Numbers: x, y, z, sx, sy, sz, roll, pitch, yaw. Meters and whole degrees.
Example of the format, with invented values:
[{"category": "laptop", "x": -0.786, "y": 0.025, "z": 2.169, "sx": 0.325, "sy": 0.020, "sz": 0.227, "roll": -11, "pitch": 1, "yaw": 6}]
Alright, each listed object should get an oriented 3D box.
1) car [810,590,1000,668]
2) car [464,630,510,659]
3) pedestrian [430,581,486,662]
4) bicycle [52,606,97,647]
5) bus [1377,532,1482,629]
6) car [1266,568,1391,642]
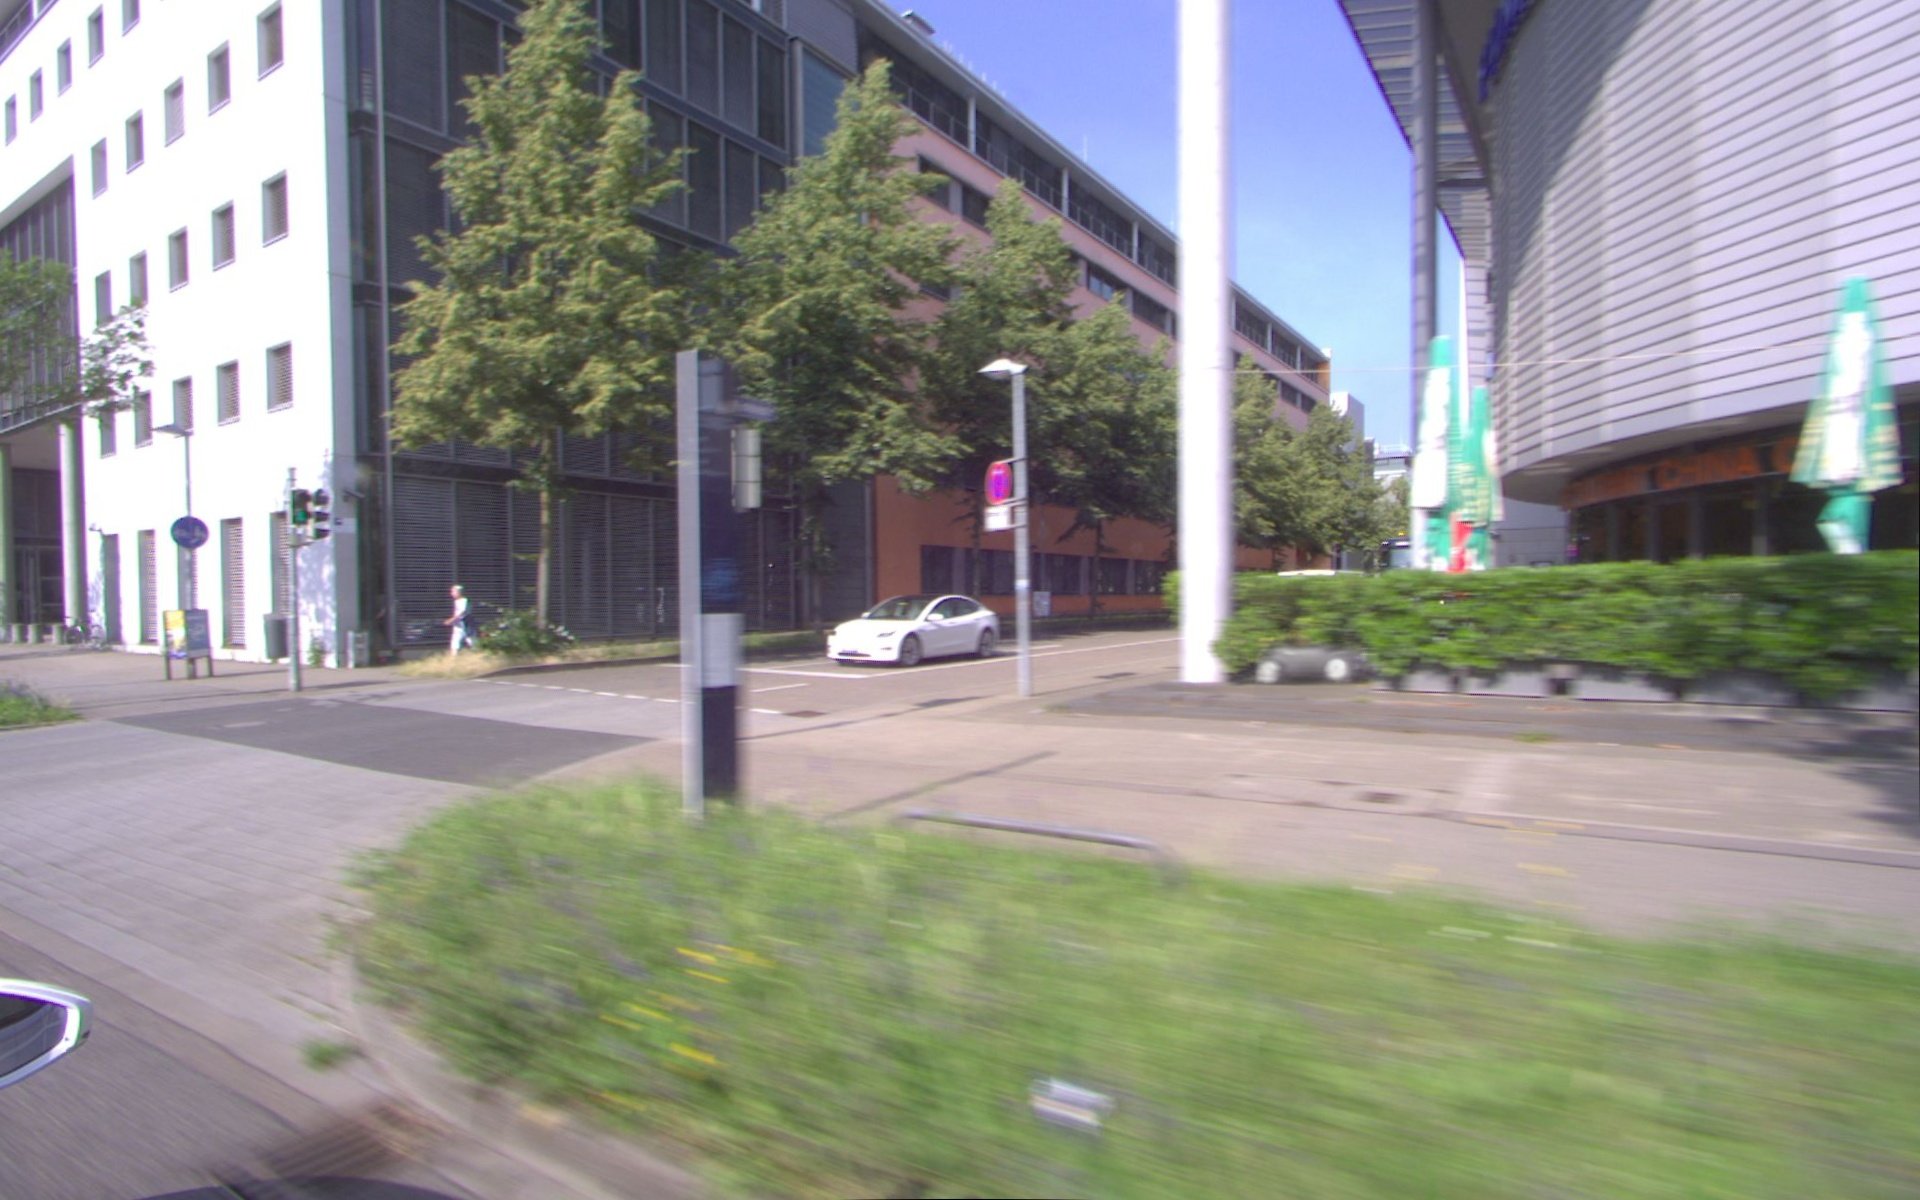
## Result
[{"category": "car", "x": -1.049, "y": 0.535, "z": 21.442, "sx": 1.875, "sy": 1.484, "sz": 4.309, "roll": 0, "pitch": 1, "yaw": 34}, {"category": "car", "x": -10.232, "y": 0.949, "z": 21.670, "sx": 0.491, "sy": 0.595, "sz": 0.763, "roll": 0, "pitch": 0, "yaw": 32}, {"category": "pedestrian", "x": -10.461, "y": 0.441, "z": 20.884, "sx": 0.703, "sy": 1.637, "sz": 0.775, "roll": 0, "pitch": 1, "yaw": 33}, {"category": "bicycle", "x": -24.863, "y": 0.738, "z": 28.106, "sx": 1.527, "sy": 1.101, "sz": 0.492, "roll": 0, "pitch": 2, "yaw": 32}, {"category": "bus", "x": 17.449, "y": -0.632, "z": 36.900, "sx": 2.453, "sy": 3.190, "sz": 7.801, "roll": -1, "pitch": 0, "yaw": 33}, {"category": "car", "x": 11.053, "y": 0.130, "z": 29.852, "sx": 2.045, "sy": 2.040, "sz": 4.859, "roll": -1, "pitch": 0, "yaw": 39}]
